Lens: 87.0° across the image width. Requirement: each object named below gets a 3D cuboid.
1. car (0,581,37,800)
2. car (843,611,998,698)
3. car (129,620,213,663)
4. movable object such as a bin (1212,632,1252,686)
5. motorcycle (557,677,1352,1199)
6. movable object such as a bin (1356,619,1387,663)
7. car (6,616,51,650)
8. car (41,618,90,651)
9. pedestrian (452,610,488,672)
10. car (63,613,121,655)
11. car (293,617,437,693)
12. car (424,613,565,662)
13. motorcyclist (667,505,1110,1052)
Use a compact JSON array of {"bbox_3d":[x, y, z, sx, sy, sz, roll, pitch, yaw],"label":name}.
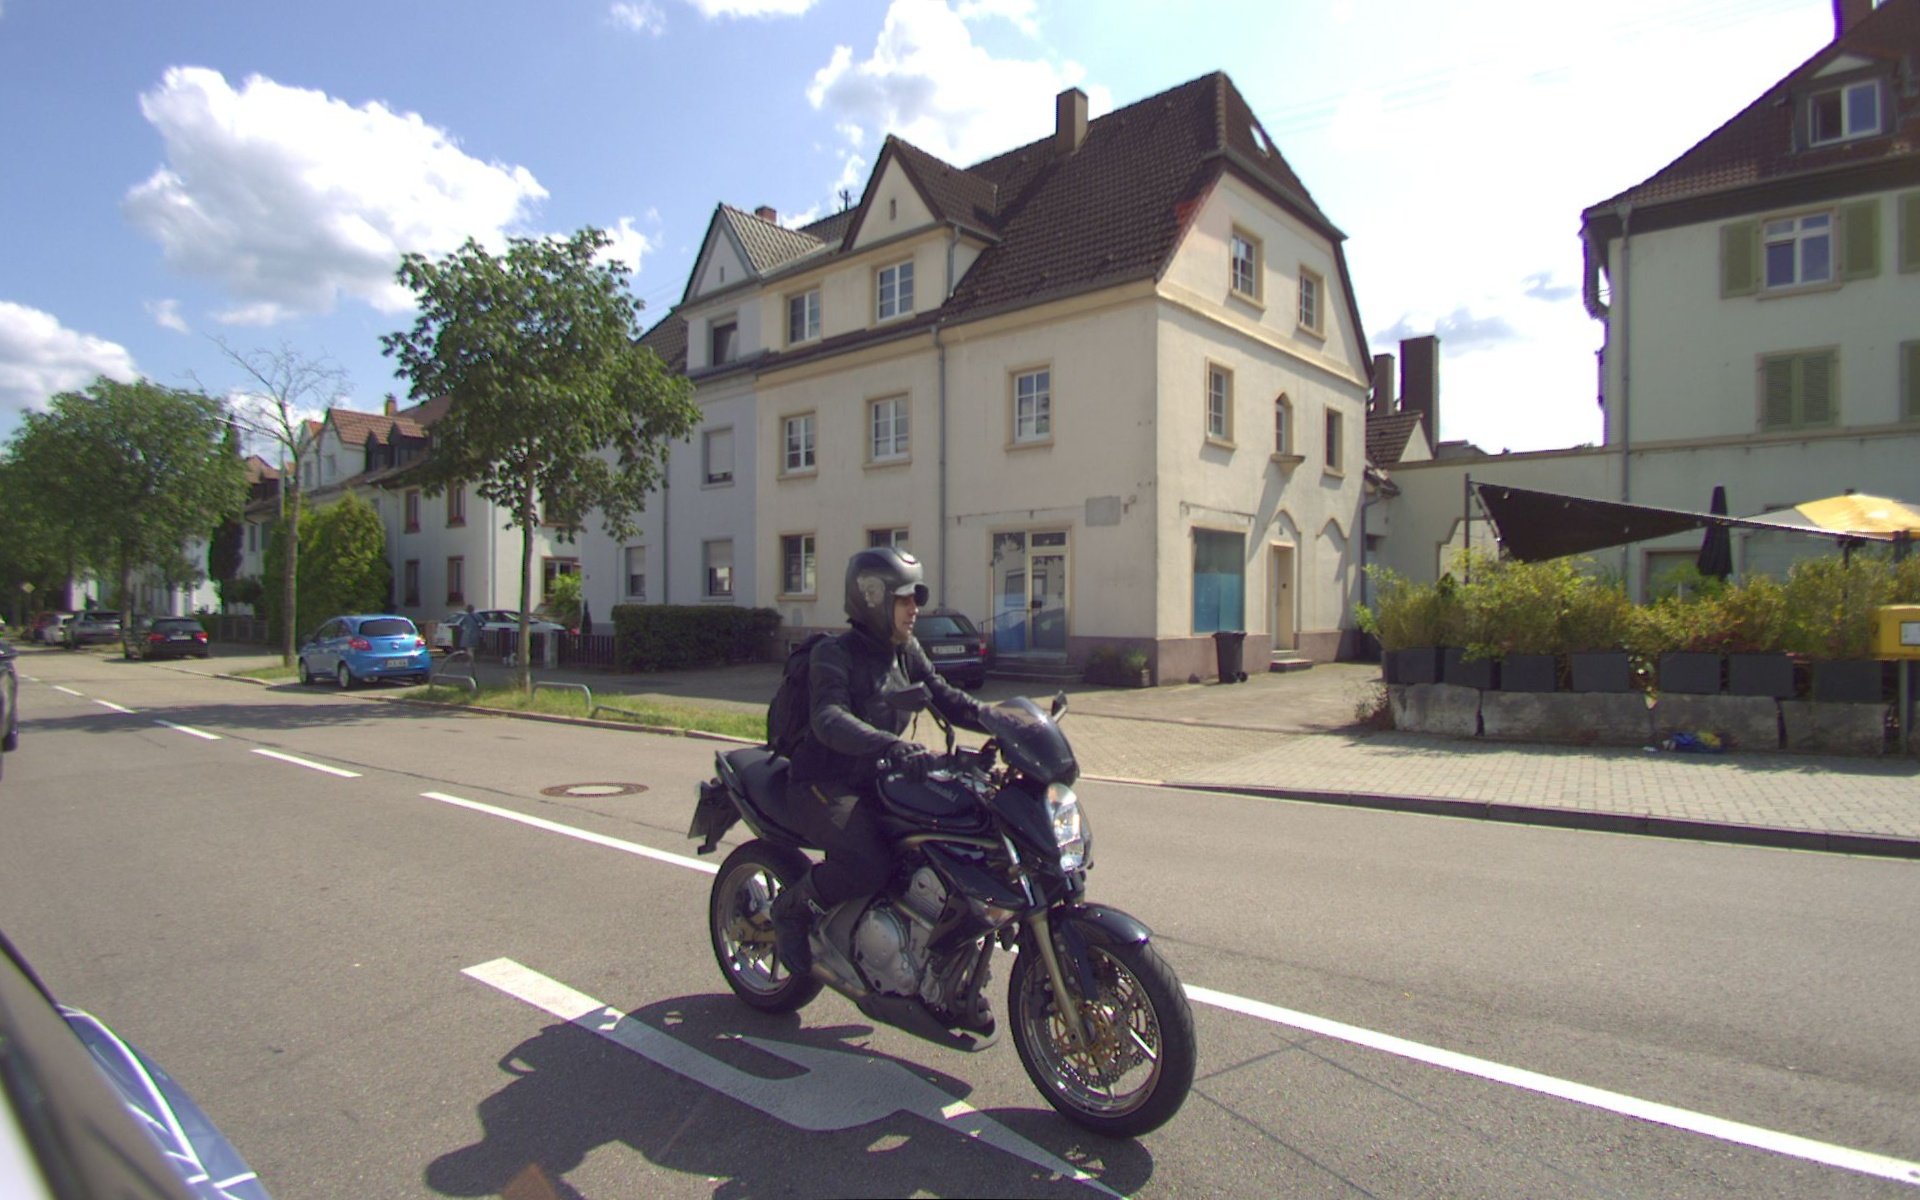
[{"bbox_3d":[-10.035,0.764,9.339,4.873,1.777,1.753,-1,-1,42],"label":"car"},{"bbox_3d":[-0.860,0.915,18.546,1.732,1.397,4.115,0,-1,-19],"label":"car"},{"bbox_3d":[-25.830,1.318,33.082,3.919,1.306,1.686,-1,-1,45],"label":"car"},{"bbox_3d":[5.122,1.102,19.039,0.510,0.979,0.607,-1,-2,41],"label":"movable object such as a bin"},{"bbox_3d":[-0.085,0.855,3.134,2.347,1.136,0.836,-1,-1,27],"label":"motorcycle"},{"bbox_3d":[9.999,0.992,24.579,0.510,1.053,0.607,-1,-2,41],"label":"movable object such as a bin"},{"bbox_3d":[-47.844,1.683,51.949,3.252,1.667,1.541,-1,-2,45],"label":"car"},{"bbox_3d":[-40.865,1.552,46.209,1.601,1.436,3.004,0,-1,-43],"label":"car"},{"bbox_3d":[-12.402,1.036,25.624,0.618,1.547,0.623,-1,-2,42],"label":"pedestrian"},{"bbox_3d":[-36.300,1.407,42.285,3.575,1.667,1.541,-1,-2,45],"label":"car"},{"bbox_3d":[-12.508,1.094,21.227,3.153,1.473,1.687,-1,-1,41],"label":"car"},{"bbox_3d":[-14.836,1.156,32.347,1.711,1.465,3.753,-1,-1,44],"label":"car"},{"bbox_3d":[-0.209,0.487,3.236,1.095,1.409,0.818,-4,-2,27],"label":"motorcyclist"}]
